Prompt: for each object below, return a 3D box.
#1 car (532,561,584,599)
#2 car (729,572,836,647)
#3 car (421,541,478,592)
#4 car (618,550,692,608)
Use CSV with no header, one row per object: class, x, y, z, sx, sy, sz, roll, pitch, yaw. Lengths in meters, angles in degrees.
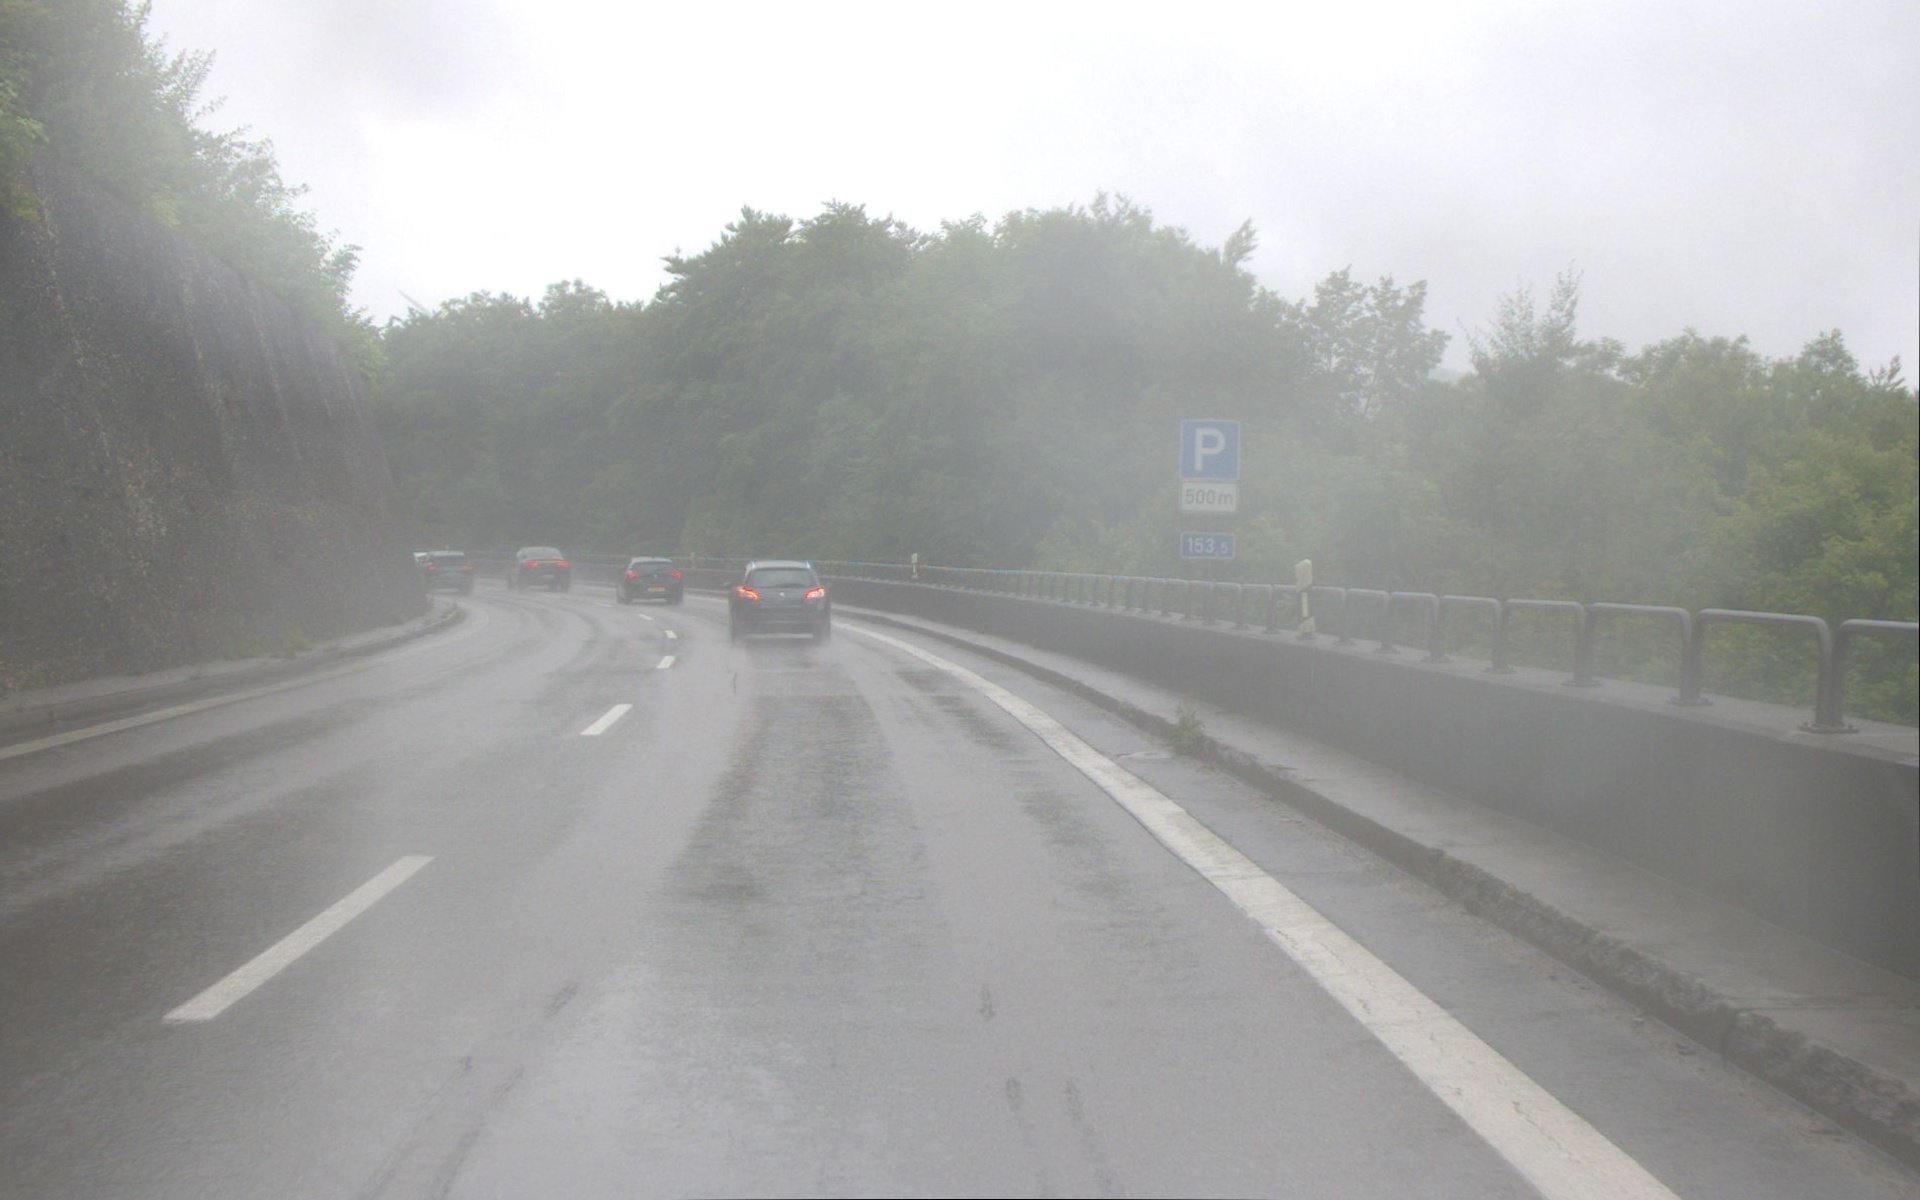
car,-15.821,-0.804,135.089,1.800,1.462,4.001,0,1,-10
car,-3.246,0.148,62.415,1.800,1.303,4.001,0,1,-5
car,-19.406,-1.252,130.611,1.993,1.897,4.001,1,0,-10
car,-9.469,-0.644,106.371,1.993,1.744,4.001,1,0,-9
